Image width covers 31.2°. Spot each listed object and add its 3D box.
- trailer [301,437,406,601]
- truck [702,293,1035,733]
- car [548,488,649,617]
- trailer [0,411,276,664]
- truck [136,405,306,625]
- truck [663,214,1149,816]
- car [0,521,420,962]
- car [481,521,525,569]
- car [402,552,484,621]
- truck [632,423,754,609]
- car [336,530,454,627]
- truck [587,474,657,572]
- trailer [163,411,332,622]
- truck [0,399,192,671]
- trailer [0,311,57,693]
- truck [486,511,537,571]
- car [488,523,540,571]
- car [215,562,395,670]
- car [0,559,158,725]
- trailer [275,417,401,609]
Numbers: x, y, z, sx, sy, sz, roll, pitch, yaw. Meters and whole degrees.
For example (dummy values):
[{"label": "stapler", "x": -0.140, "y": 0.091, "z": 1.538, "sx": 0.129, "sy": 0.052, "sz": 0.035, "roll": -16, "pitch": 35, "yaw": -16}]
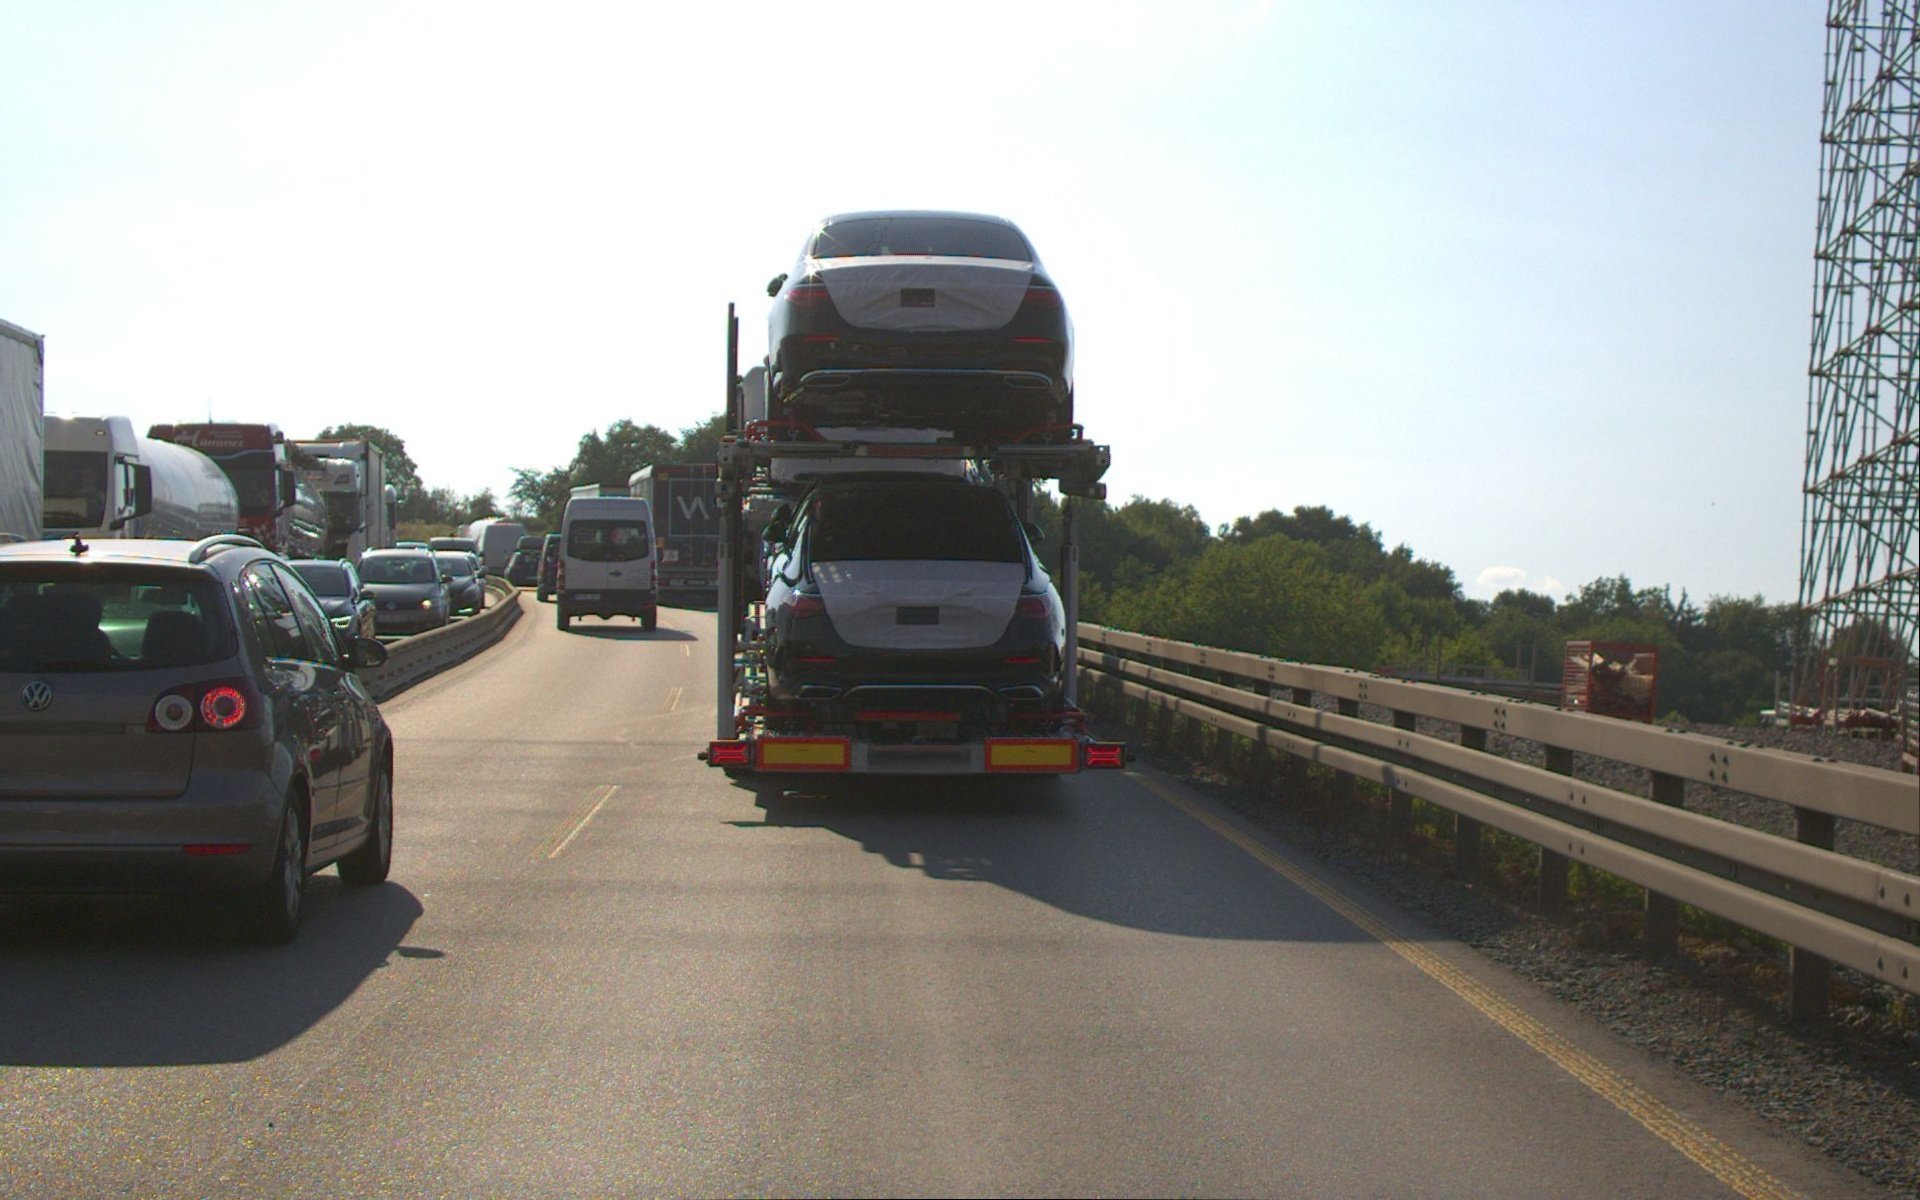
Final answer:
[{"label": "trailer", "x": -16.217, "y": -2.126, "z": 92.335, "sx": 2.442, "sy": 4.174, "sz": 8.546, "roll": 1, "pitch": 0, "yaw": -8}, {"label": "truck", "x": -1.043, "y": -0.798, "z": 34.800, "sx": 2.837, "sy": 3.779, "sz": 9.988, "roll": 1, "pitch": 0, "yaw": -3}, {"label": "car", "x": -7.321, "y": -0.951, "z": 69.529, "sx": 1.920, "sy": 2.484, "sz": 5.410, "roll": 1, "pitch": 0, "yaw": -6}, {"label": "trailer", "x": -12.277, "y": -0.887, "z": 51.933, "sx": 2.306, "sy": 3.350, "sz": 12.054, "roll": 1, "pitch": 1, "yaw": -4}, {"label": "truck", "x": -13.317, "y": -1.499, "z": 62.294, "sx": 2.432, "sy": 3.772, "sz": 5.618, "roll": 1, "pitch": 0, "yaw": -7}, {"label": "truck", "x": -0.574, "y": -0.542, "z": 25.411, "sx": 2.799, "sy": 3.485, "sz": 10.606, "roll": 1, "pitch": 0, "yaw": -3}, {"label": "car", "x": -3.397, "y": 0.492, "z": 14.474, "sx": 1.691, "sy": 1.590, "sz": 4.000, "roll": 1, "pitch": 0, "yaw": -1}, {"label": "car", "x": -19.409, "y": -2.326, "z": 145.869, "sx": 1.629, "sy": 2.007, "sz": 4.001, "roll": 1, "pitch": 0, "yaw": -10}, {"label": "car", "x": -11.127, "y": -0.299, "z": 74.159, "sx": 1.627, "sy": 1.421, "sz": 4.389, "roll": 1, "pitch": 0, "yaw": -7}, {"label": "truck", "x": -8.005, "y": -2.421, "z": 101.980, "sx": 3.285, "sy": 5.219, "sz": 9.938, "roll": 1, "pitch": 0, "yaw": -6}, {"label": "car", "x": -9.616, "y": -0.374, "z": 58.742, "sx": 1.750, "sy": 1.581, "sz": 3.943, "roll": 1, "pitch": 0, "yaw": -6}, {"label": "truck", "x": -13.091, "y": -2.921, "z": 132.931, "sx": 2.530, "sy": 3.635, "sz": 8.907, "roll": 1, "pitch": 0, "yaw": -6}, {"label": "trailer", "x": -13.951, "y": -1.559, "z": 68.041, "sx": 2.306, "sy": 3.777, "sz": 12.055, "roll": 1, "pitch": 0, "yaw": -7}, {"label": "truck", "x": -11.820, "y": -0.836, "z": 45.428, "sx": 2.413, "sy": 3.358, "sz": 5.618, "roll": 1, "pitch": 0, "yaw": -4}, {"label": "trailer", "x": -10.864, "y": -0.984, "z": 31.470, "sx": 2.427, "sy": 3.949, "sz": 14.101, "roll": 1, "pitch": 1, "yaw": -4}, {"label": "truck", "x": -24.295, "y": -3.187, "z": 186.066, "sx": 2.590, "sy": 3.159, "sz": 6.678, "roll": 1, "pitch": 0, "yaw": -9}, {"label": "car", "x": -16.542, "y": -1.958, "z": 127.668, "sx": 1.826, "sy": 1.766, "sz": 4.001, "roll": 1, "pitch": 0, "yaw": -6}, {"label": "car", "x": -8.931, "y": 0.185, "z": 47.144, "sx": 1.793, "sy": 1.393, "sz": 4.244, "roll": 1, "pitch": 0, "yaw": -2}, {"label": "car", "x": -8.242, "y": 0.325, "z": 30.414, "sx": 1.607, "sy": 1.371, "sz": 3.901, "roll": 1, "pitch": 0, "yaw": -4}, {"label": "trailer", "x": -14.886, "y": -2.019, "z": 82.841, "sx": 2.475, "sy": 4.314, "sz": 10.513, "roll": 1, "pitch": 0, "yaw": -8}]
